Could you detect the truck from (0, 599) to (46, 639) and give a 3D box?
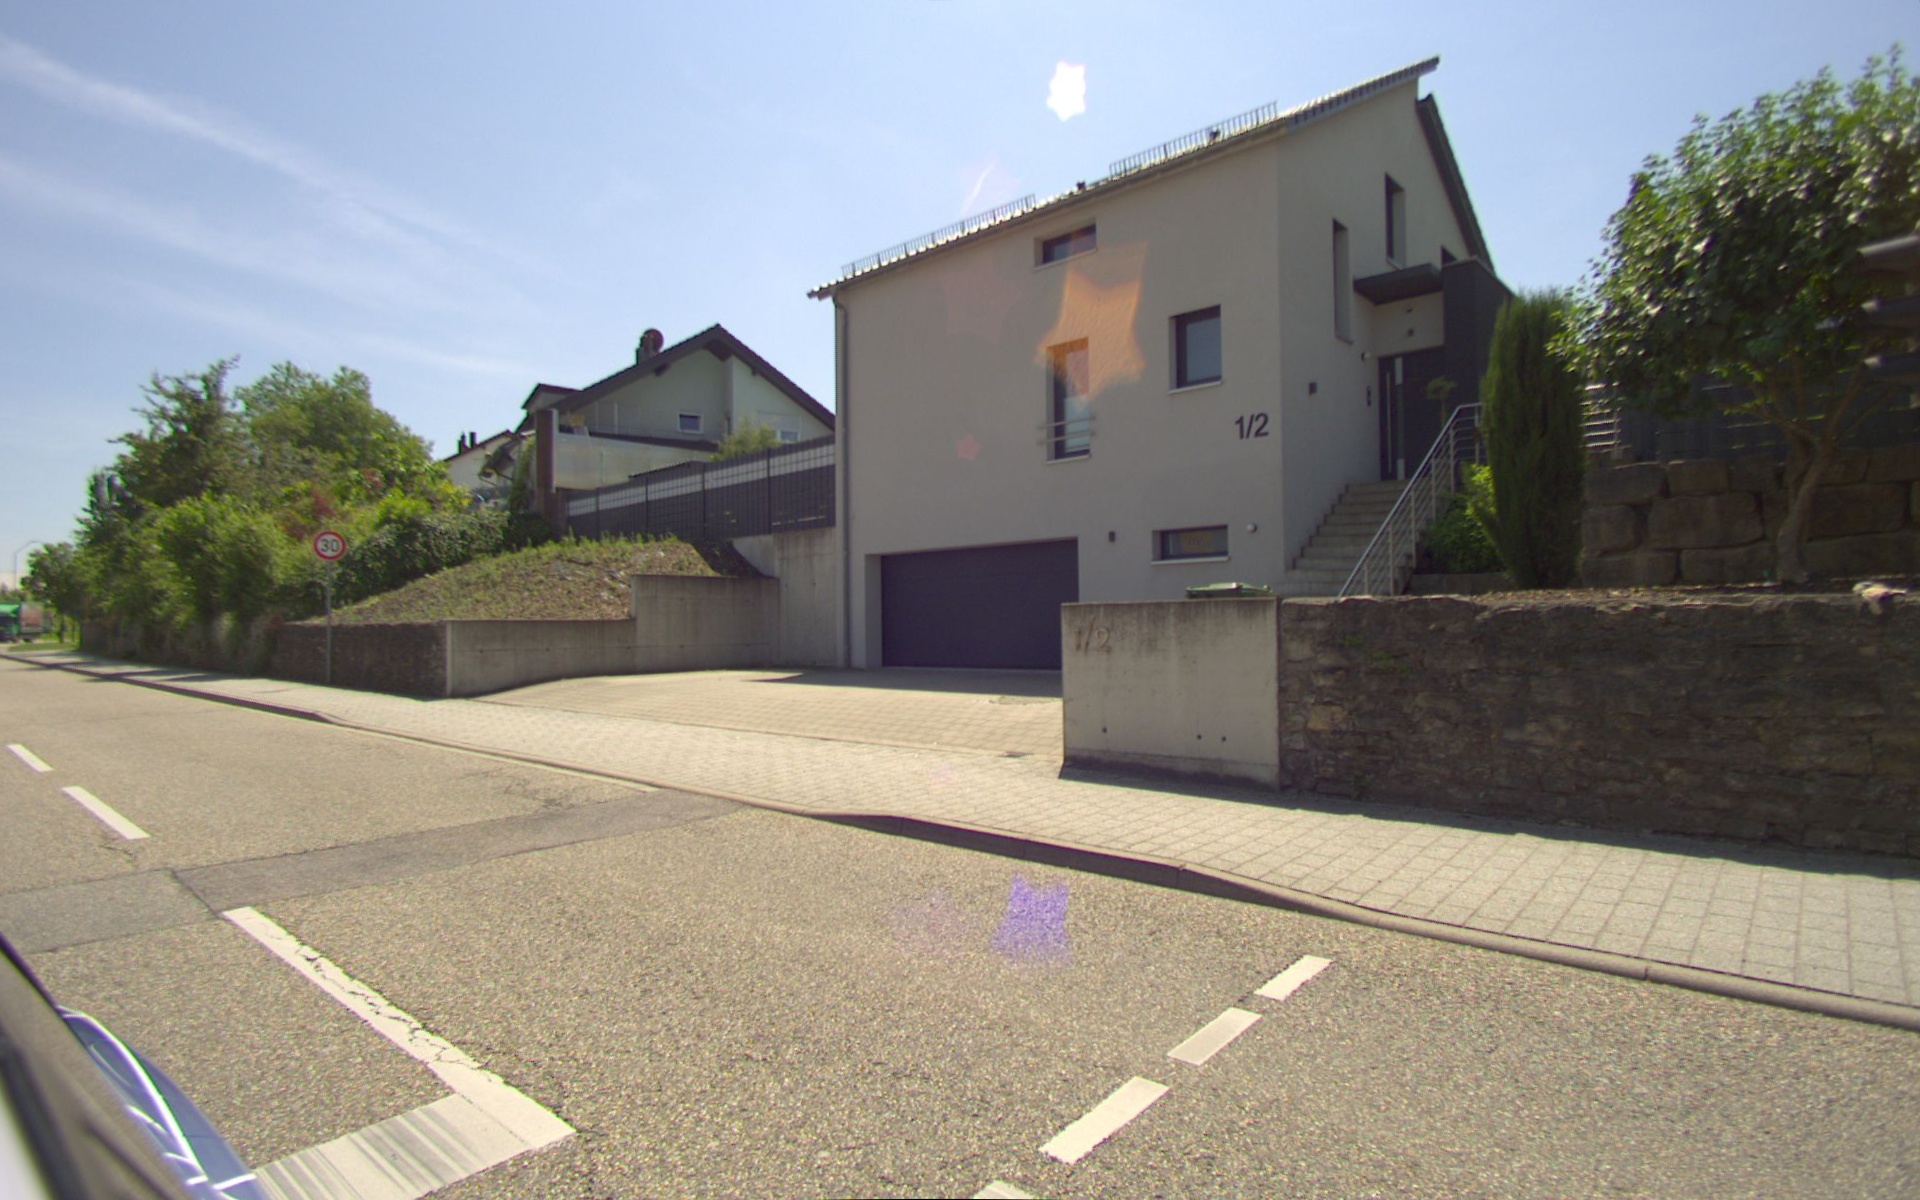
[{"bbox_3d":[-81.668,1.657,86.881,2.805,3.258,8.188,4,-4,-29],"label":"truck"}]
